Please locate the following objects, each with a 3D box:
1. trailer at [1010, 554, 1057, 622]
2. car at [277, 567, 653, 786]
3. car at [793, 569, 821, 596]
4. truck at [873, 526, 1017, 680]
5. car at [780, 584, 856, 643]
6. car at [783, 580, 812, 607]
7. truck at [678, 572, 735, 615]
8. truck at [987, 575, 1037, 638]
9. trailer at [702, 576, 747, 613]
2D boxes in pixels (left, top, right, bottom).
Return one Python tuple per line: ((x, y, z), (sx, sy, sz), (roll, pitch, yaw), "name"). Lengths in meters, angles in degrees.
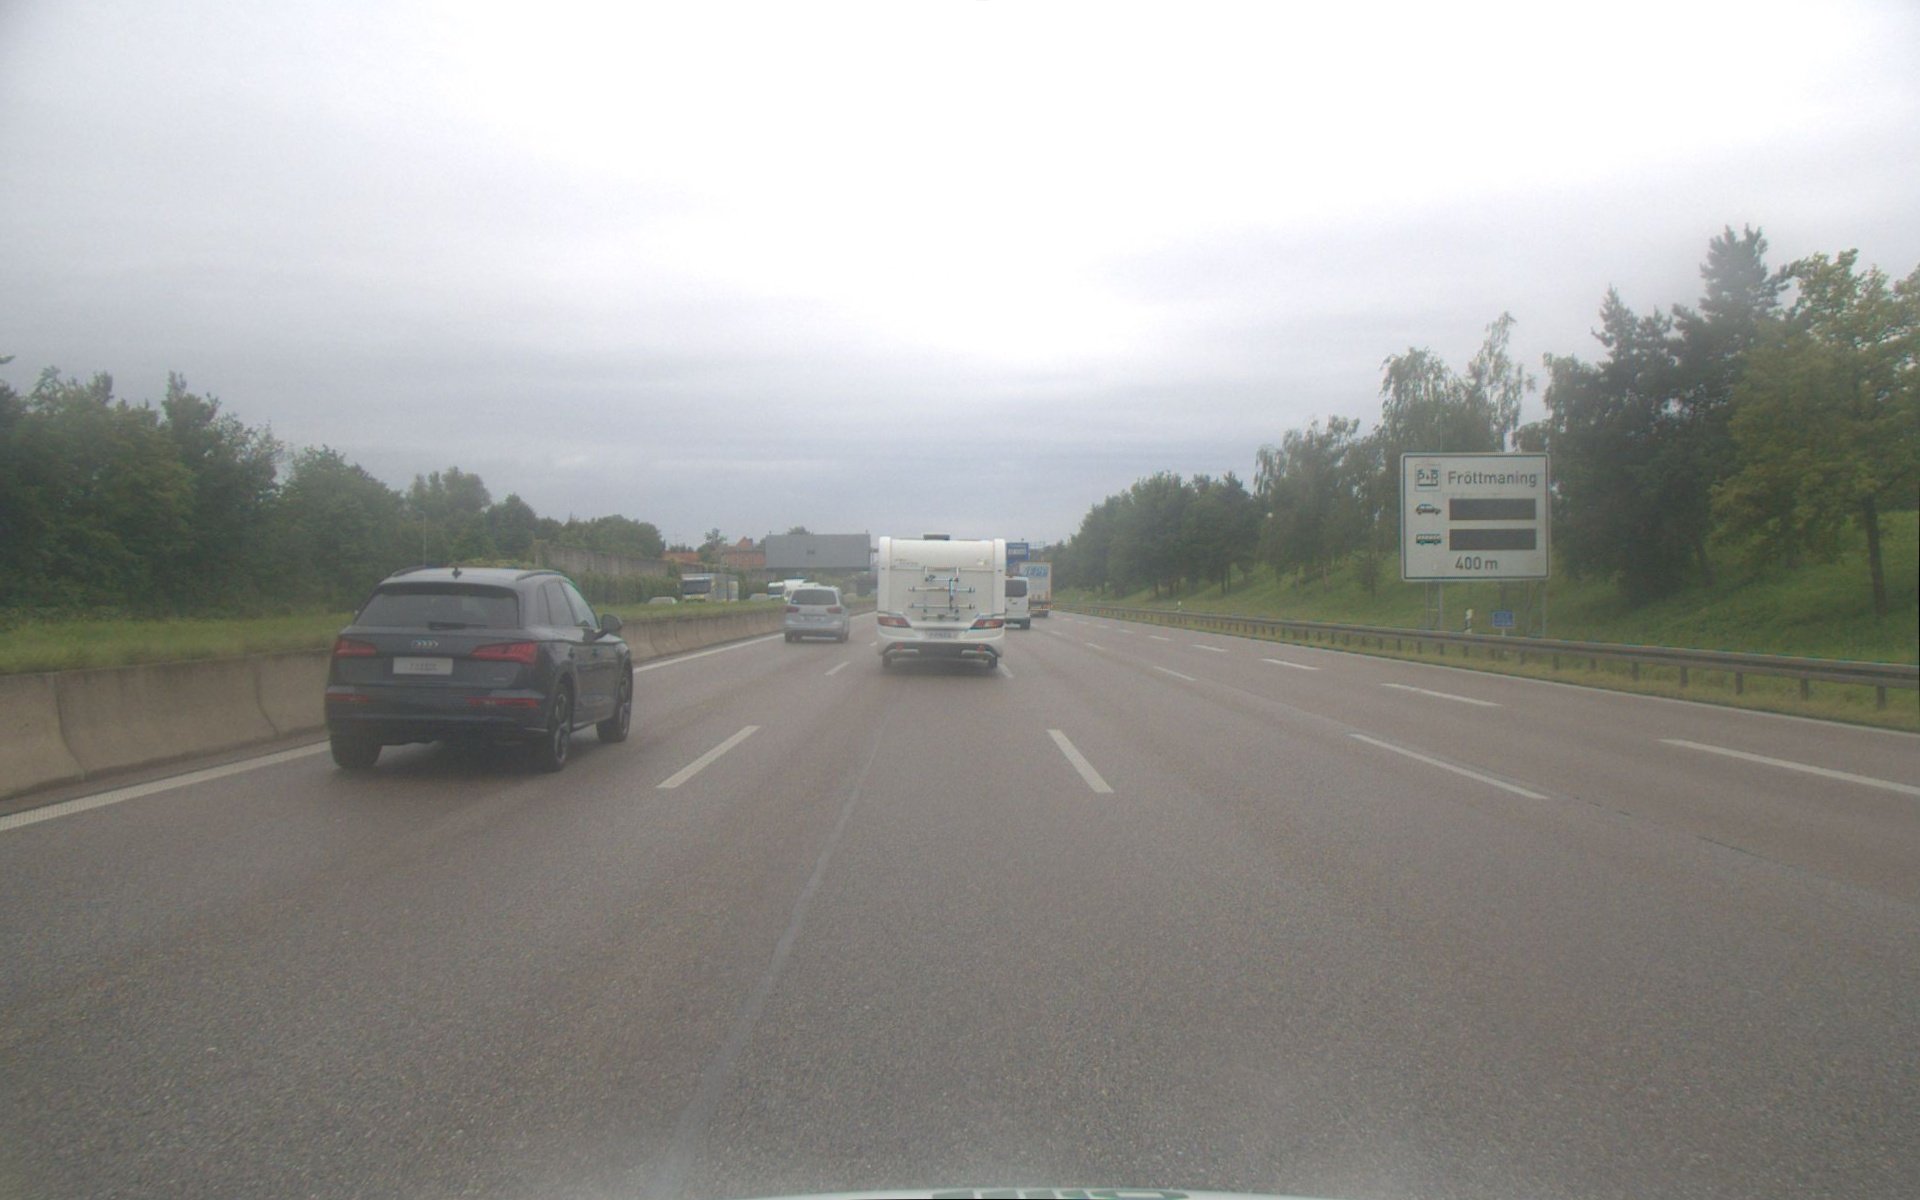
((5.591, -0.871, 128.035), (3.036, 5.008, 11.789), (1, 0, 0), "trailer")
((-4.215, 0.590, 15.083), (1.953, 1.628, 5.122), (1, 0, -1), "car")
((-14.217, -1.608, 154.091), (2.017, 2.427, 7.322), (1, 0, -1), "car")
((-0.331, 0.068, 33.153), (2.607, 2.790, 5.076), (1, 0, -1), "truck")
((-4.374, 0.394, 51.422), (2.085, 1.736, 4.112), (1, 0, -1), "car")
((-17.374, -0.714, 176.925), (2.274, 2.782, 7.315), (1, 0, 0), "car")
((-20.674, -0.502, 135.369), (2.825, 3.277, 11.357), (1, 0, 0), "truck")
((2.429, 0.302, 78.397), (2.011, 2.818, 5.547), (1, 0, -1), "truck")
((-20.584, -0.461, 145.023), (2.720, 3.131, 7.872), (1, 0, 0), "trailer")
